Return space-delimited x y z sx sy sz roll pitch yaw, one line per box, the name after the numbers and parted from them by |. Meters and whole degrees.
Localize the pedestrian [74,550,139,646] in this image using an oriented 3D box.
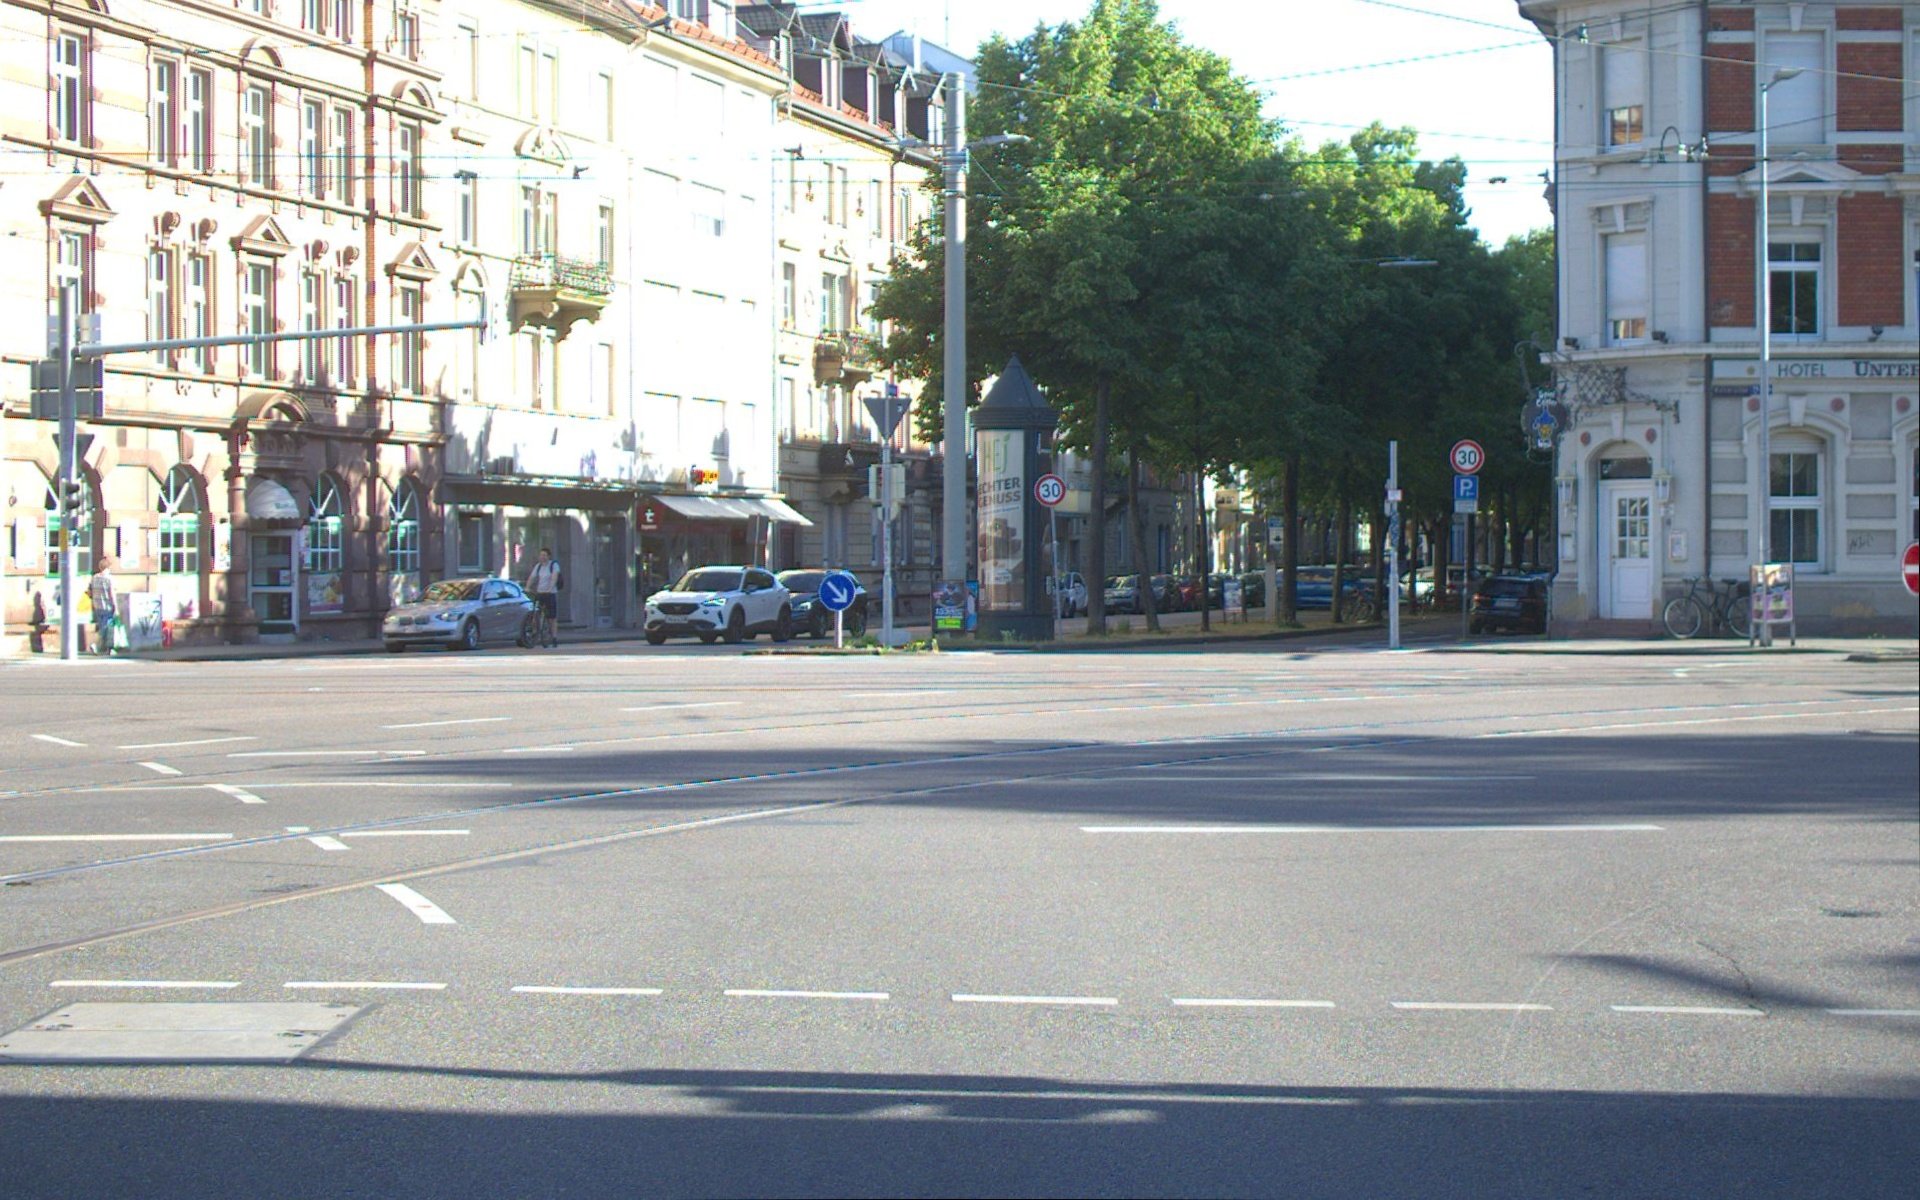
-14.965 -0.034 60.310 0.776 1.664 0.830 1 0 15 | pedestrian

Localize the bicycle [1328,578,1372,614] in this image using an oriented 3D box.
11.272 -0.115 99.481 0.636 1.018 1.847 1 1 -14 | bicycle

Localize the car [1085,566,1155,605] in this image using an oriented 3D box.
5.716 -0.532 122.438 1.678 1.349 3.588 0 1 17 | car

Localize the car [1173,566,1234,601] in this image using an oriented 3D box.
9.625 -0.669 135.775 1.678 1.349 3.588 0 1 17 | car

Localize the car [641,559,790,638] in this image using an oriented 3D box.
-4.753 -0.059 67.312 1.678 1.478 3.768 0 1 17 | car

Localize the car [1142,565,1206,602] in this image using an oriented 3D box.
8.153 -0.629 130.745 1.678 1.349 3.588 0 1 17 | car

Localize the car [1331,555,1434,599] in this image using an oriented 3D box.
15.726 -0.861 128.030 3.582 1.642 1.681 0 1 17 | car

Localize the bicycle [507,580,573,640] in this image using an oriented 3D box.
-7.971 0.178 65.263 0.702 1.114 1.634 1 1 13 | bicycle

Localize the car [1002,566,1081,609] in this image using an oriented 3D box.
2.647 -0.413 111.320 1.678 1.349 3.588 0 1 17 | car

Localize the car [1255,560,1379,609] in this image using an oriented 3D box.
12.003 -0.523 115.675 3.905 1.642 1.681 0 1 17 | car

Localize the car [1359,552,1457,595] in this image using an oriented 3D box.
17.401 -1.016 133.503 3.582 1.642 1.681 0 1 17 | car

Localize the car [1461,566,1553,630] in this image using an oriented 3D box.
13.159 -0.066 82.571 1.678 1.478 3.945 0 1 17 | car

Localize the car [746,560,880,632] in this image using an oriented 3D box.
-3.111 -0.109 73.613 1.678 1.478 3.945 0 1 17 | car

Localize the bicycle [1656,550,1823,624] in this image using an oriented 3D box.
12.977 -0.214 57.272 2.554 1.170 0.819 1 0 -3 | bicycle

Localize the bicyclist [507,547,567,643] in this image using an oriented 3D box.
-8.006 -0.094 65.137 0.779 1.797 1.055 1 0 14 | bicyclist

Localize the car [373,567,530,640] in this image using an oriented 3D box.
-9.864 0.049 66.908 1.678 1.349 3.588 0 1 17 | car

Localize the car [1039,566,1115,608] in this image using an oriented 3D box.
3.945 -0.456 115.477 1.678 1.349 3.588 0 1 17 | car
